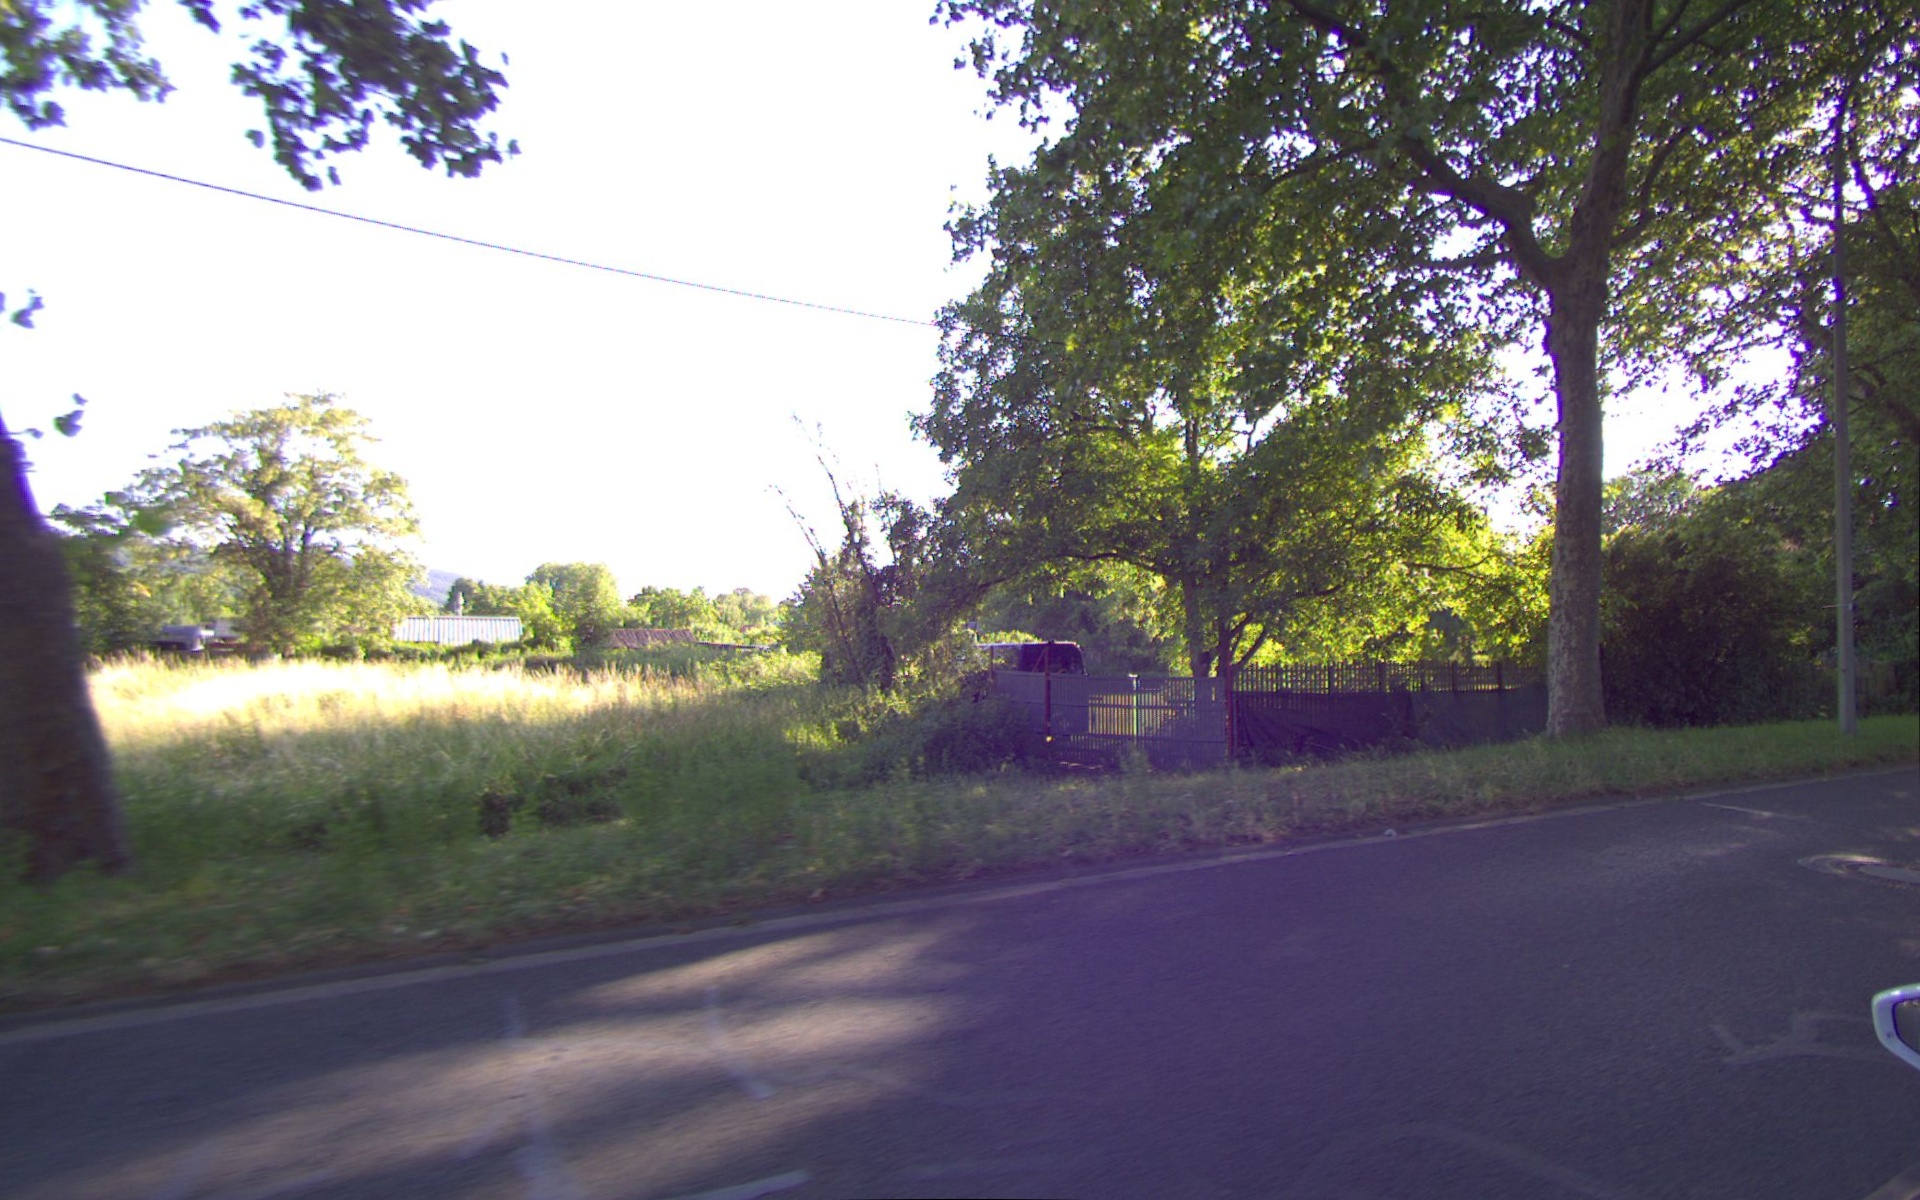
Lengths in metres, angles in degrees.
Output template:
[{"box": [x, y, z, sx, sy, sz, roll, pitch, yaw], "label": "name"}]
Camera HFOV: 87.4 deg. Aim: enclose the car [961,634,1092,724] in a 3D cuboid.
[{"box": [1.640, 1.981, 26.170, 1.969, 2.040, 3.982, 2, -1, -19], "label": "car"}]
